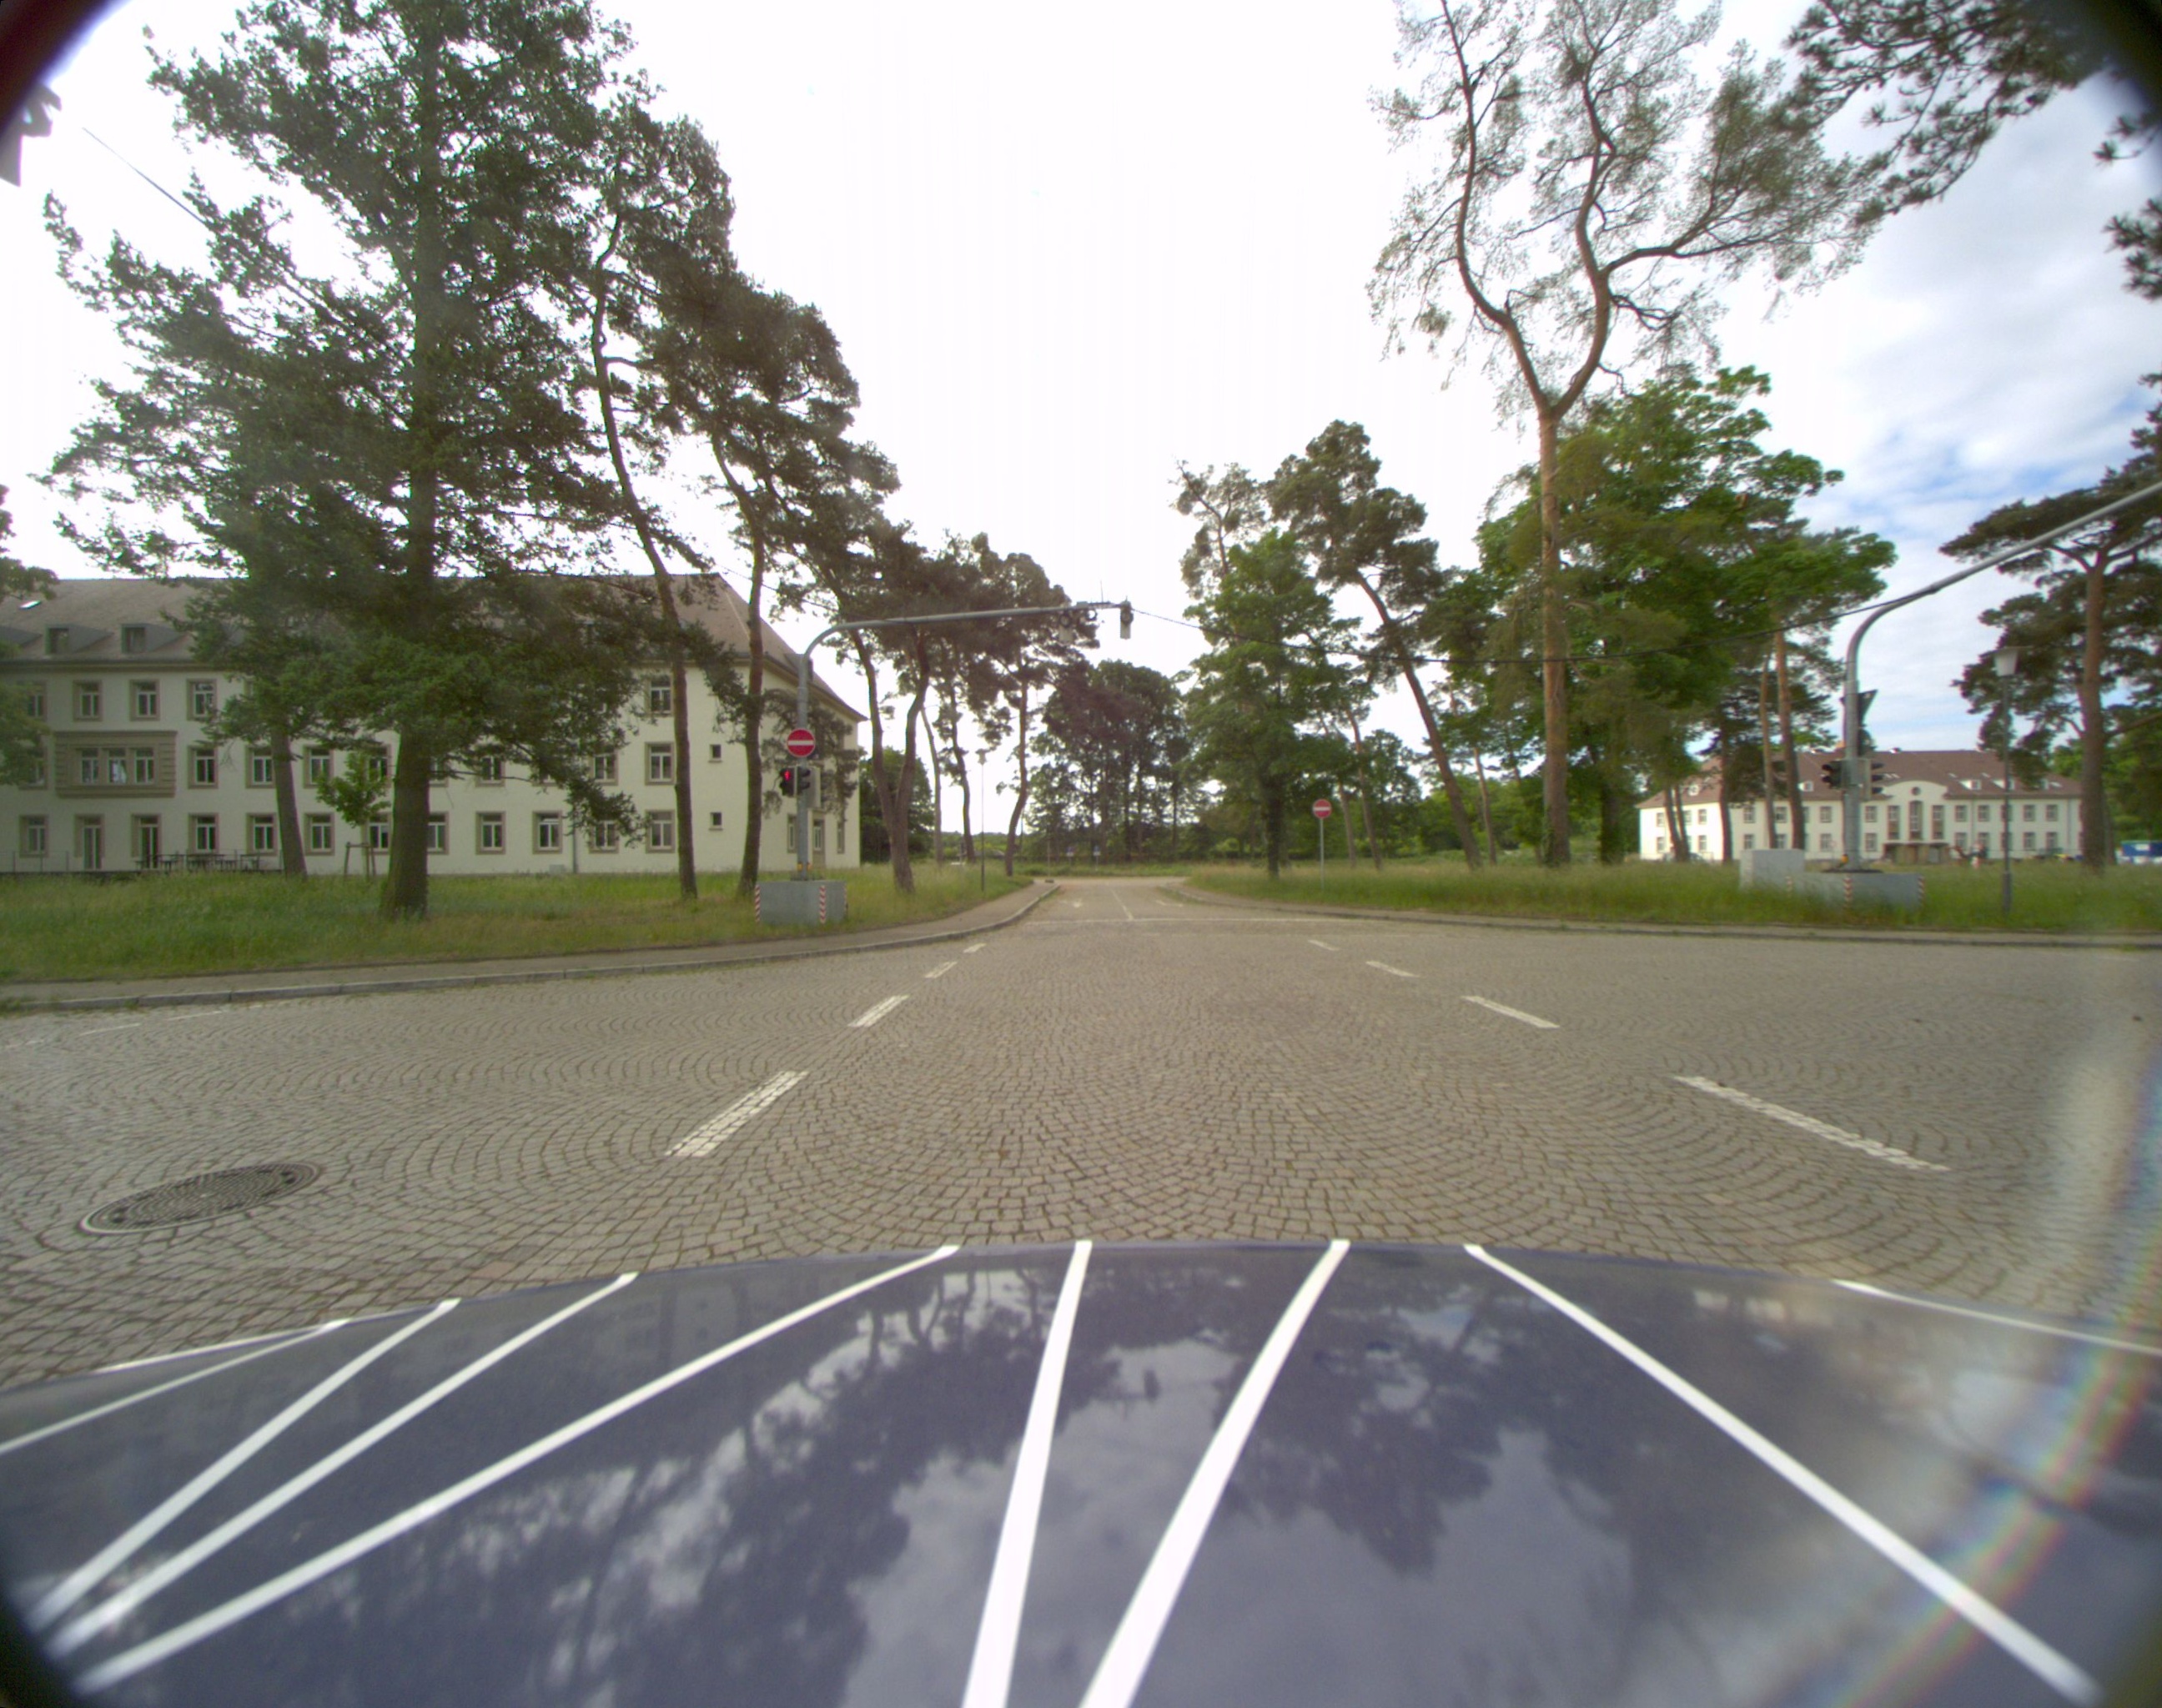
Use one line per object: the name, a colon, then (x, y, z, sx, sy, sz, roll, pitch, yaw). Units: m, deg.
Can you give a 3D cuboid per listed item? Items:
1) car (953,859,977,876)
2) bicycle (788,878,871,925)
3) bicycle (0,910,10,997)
car: (-10.264, 1.174, 67.208, 1.487, 1.428, 3.196, -1, -1, 3)
bicycle: (-5.666, 1.058, 17.125, 1.675, 0.965, 0.582, 1, 2, 5)
bicycle: (-14.914, 1.292, 9.613, 1.987, 1.107, 0.624, -1, -1, 4)
